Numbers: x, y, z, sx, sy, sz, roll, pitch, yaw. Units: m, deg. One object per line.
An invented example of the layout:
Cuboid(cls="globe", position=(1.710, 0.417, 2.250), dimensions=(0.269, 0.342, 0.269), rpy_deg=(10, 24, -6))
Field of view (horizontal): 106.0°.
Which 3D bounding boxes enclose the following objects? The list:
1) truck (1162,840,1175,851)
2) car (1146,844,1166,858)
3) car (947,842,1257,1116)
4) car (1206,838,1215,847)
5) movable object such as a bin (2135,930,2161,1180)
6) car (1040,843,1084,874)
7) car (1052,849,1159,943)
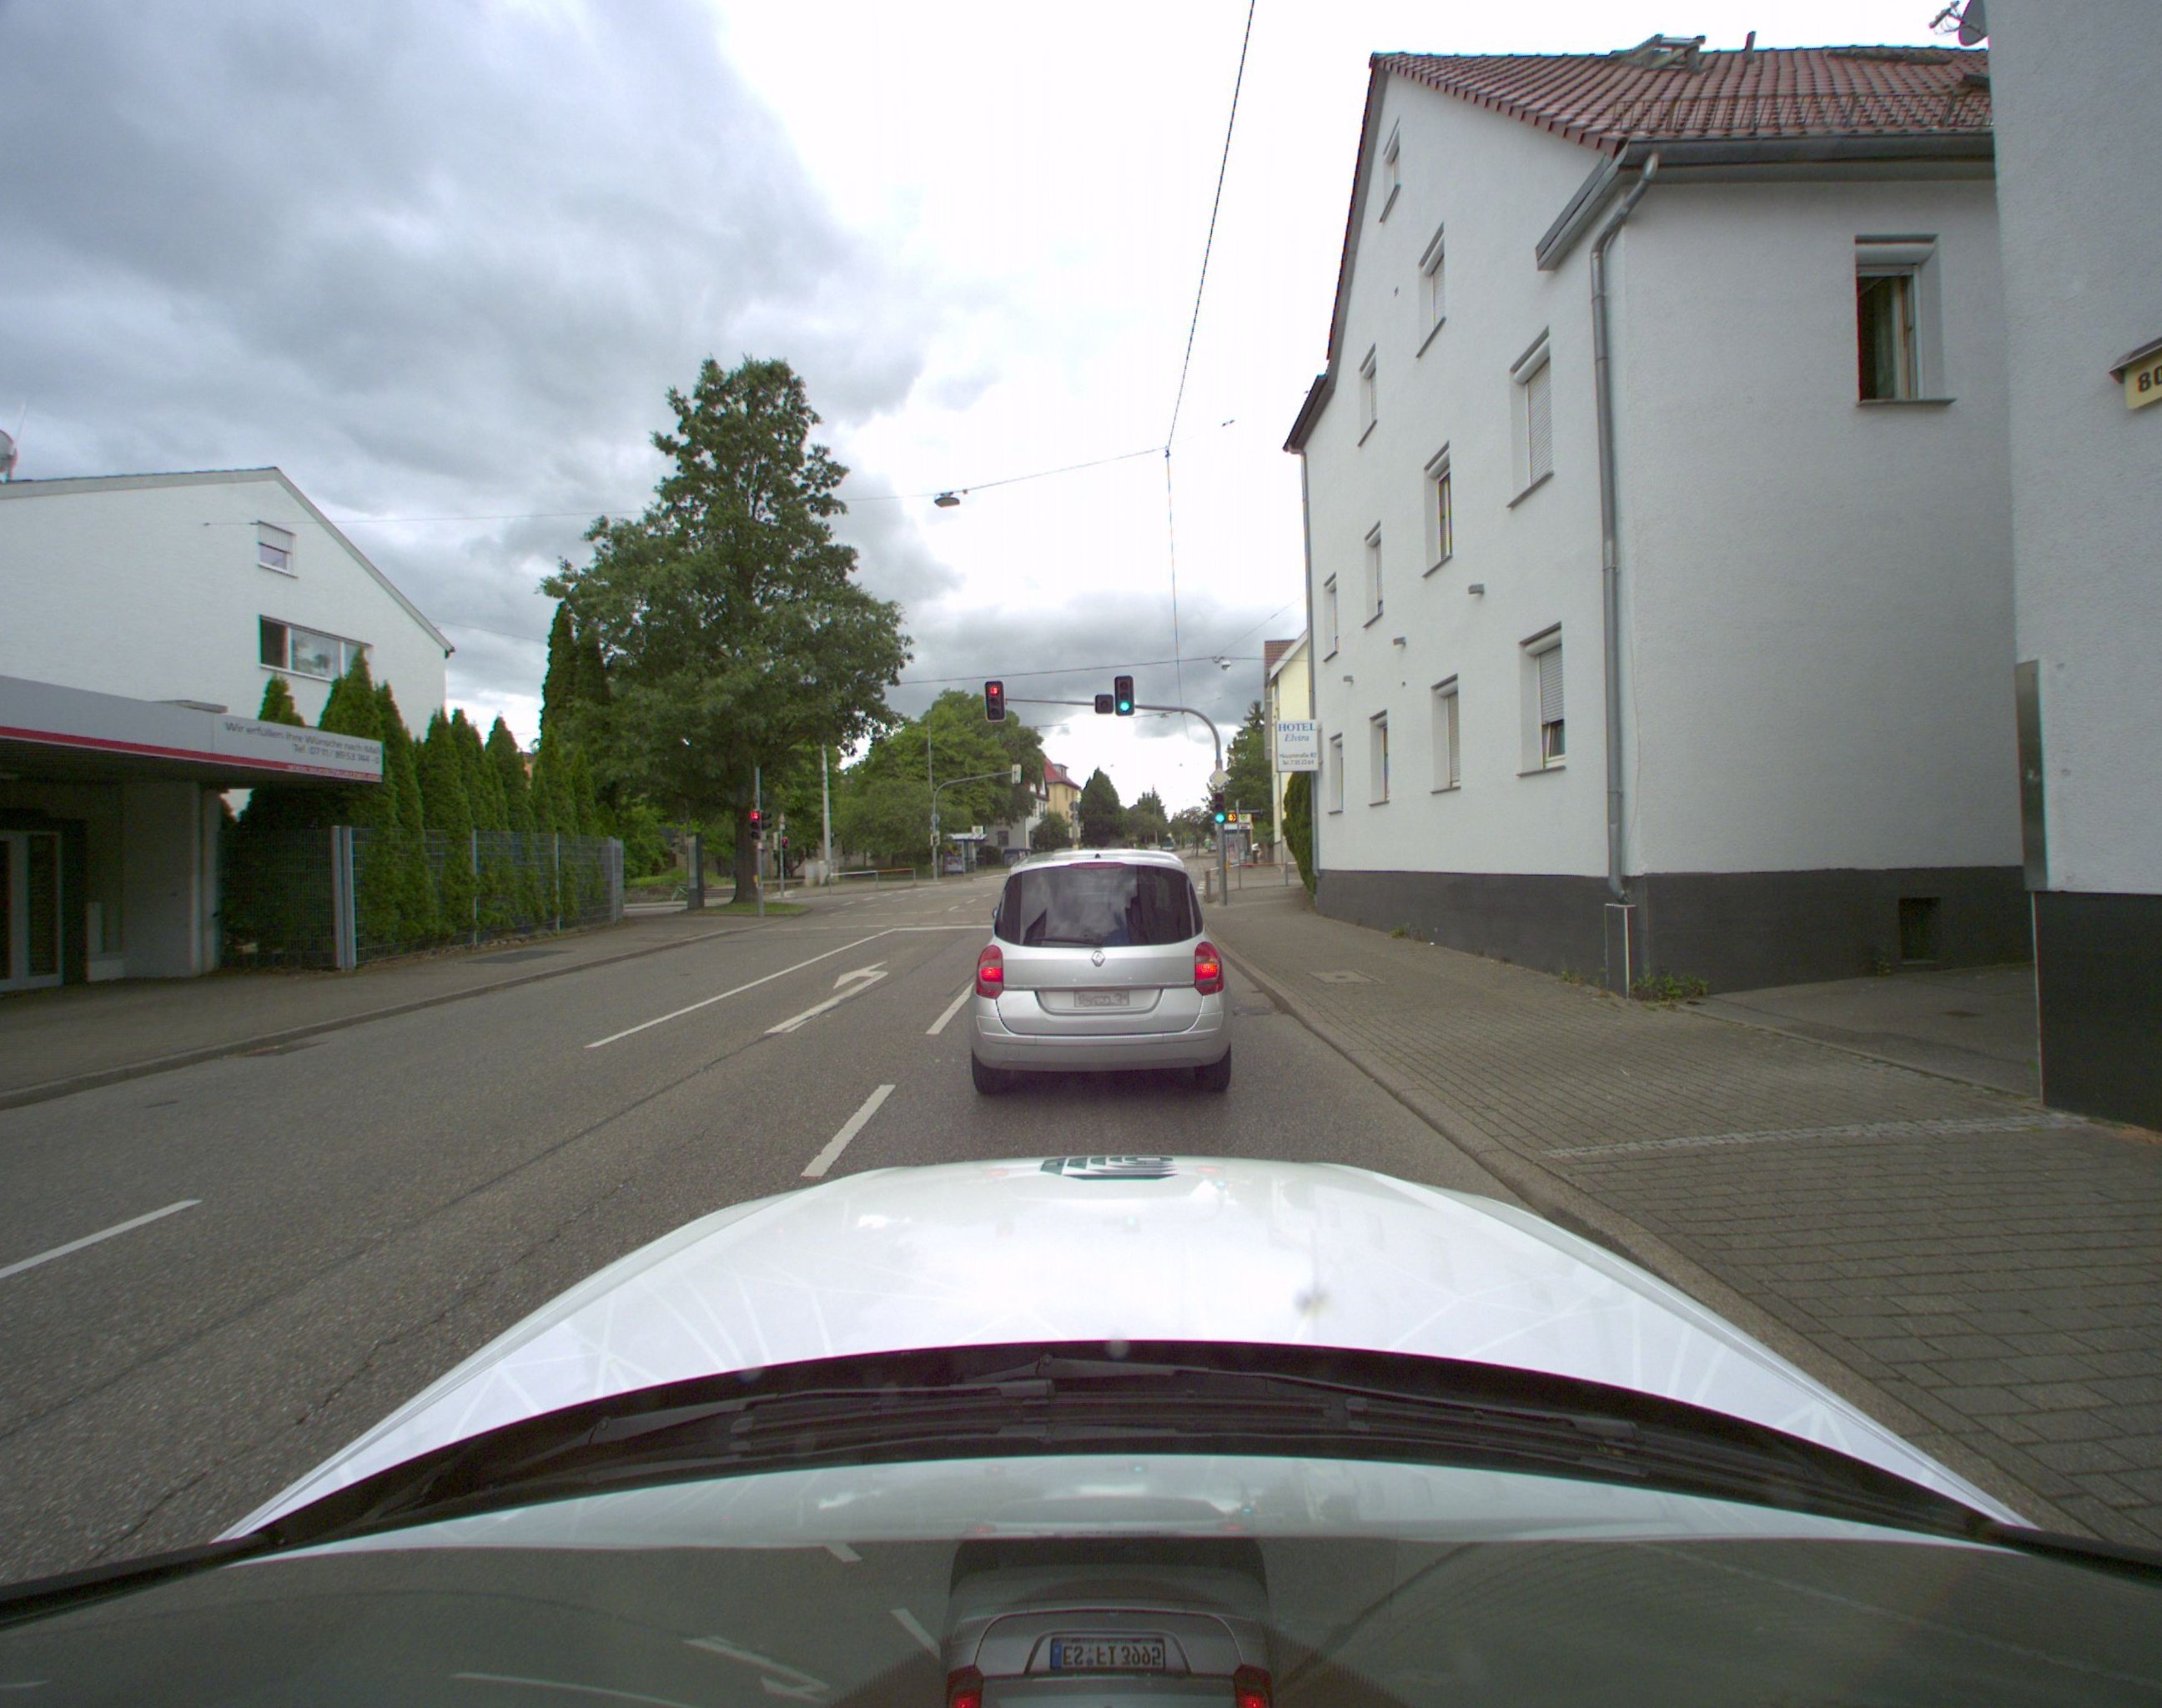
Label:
Cuboid(cls="truck", position=(17.892, -1.707, 166.356), dimensions=(2.088, 2.013, 5.766), rpy_deg=(-1, 0, 11))
Cuboid(cls="car", position=(9.338, -0.386, 101.443), dimensions=(1.844, 1.748, 4.015), rpy_deg=(-1, 0, 13))
Cuboid(cls="car", position=(0.169, 0.718, 6.639), dimensions=(1.748, 1.530, 4.001), rpy_deg=(-1, 0, 1))
Cuboid(cls="car", position=(36.656, -3.304, 230.188), dimensions=(2.044, 2.512, 5.616), rpy_deg=(-1, 0, 14))
Cuboid(cls="movable object such as a bin", position=(4.324, 0.747, 2.863), dimensions=(0.538, 0.941, 0.487), rpy_deg=(-4, -1, 2))
Cuboid(cls="car", position=(-1.226, 0.273, 54.377), dimensions=(1.913, 1.773, 4.013), rpy_deg=(-6, -1, 12))
Cuboid(cls="car", position=(0.460, 0.699, 15.422), dimensions=(1.748, 1.530, 3.798), rpy_deg=(-1, 0, 1))
